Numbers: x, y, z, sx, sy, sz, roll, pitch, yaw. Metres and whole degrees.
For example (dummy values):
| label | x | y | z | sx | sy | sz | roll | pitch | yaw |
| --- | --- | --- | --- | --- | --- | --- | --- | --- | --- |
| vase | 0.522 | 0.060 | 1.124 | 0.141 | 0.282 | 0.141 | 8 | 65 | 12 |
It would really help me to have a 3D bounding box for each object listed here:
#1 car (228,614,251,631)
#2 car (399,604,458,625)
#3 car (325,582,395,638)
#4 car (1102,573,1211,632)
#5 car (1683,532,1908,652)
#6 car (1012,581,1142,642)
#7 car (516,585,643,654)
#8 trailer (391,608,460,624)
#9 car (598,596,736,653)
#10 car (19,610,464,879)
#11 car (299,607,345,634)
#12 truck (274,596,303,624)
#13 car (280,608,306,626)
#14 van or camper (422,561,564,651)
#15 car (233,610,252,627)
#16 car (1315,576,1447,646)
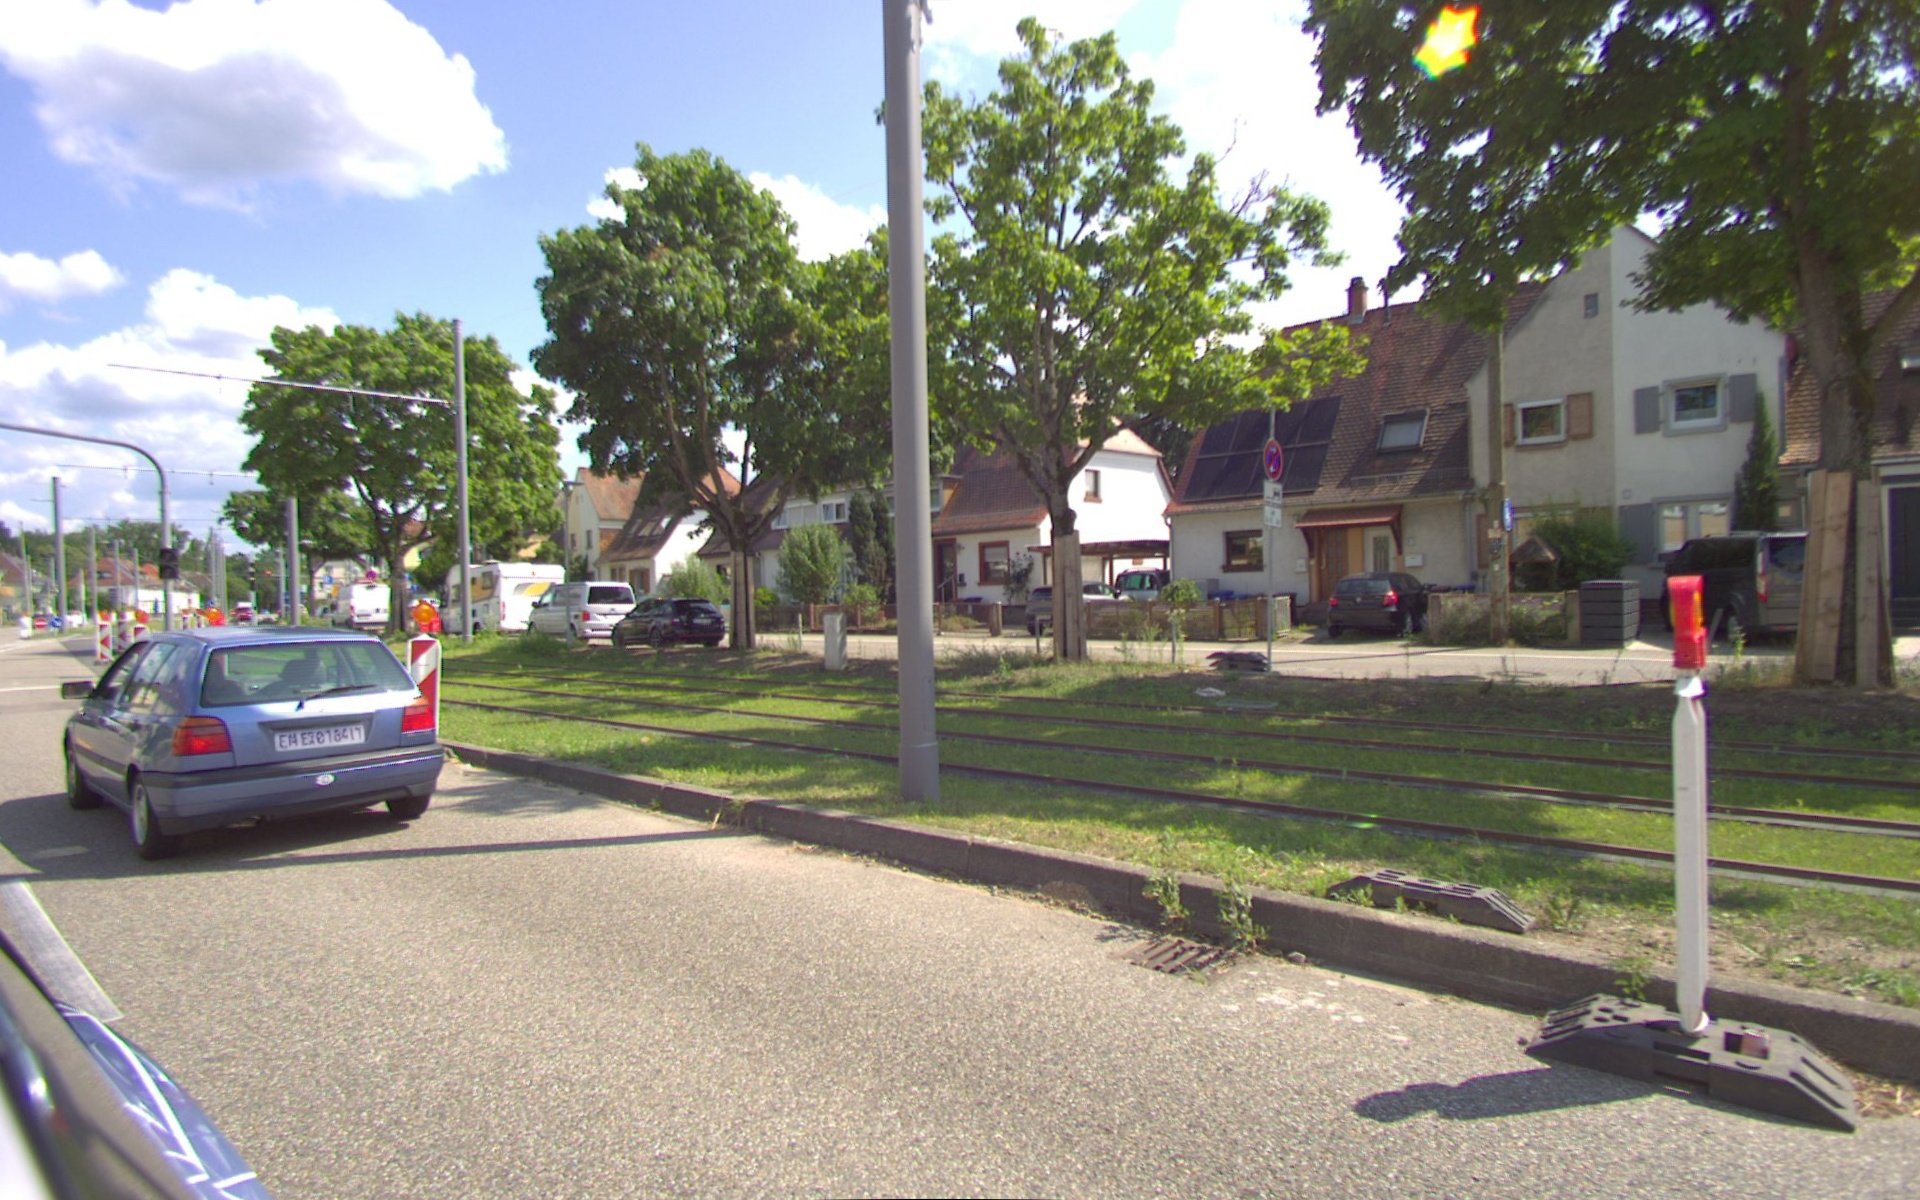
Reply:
| label | x | y | z | sx | sy | sz | roll | pitch | yaw |
| --- | --- | --- | --- | --- | --- | --- | --- | --- | --- |
| car | -70.968 | 2.170 | 99.712 | 1.702 | 1.574 | 4.553 | -2 | 0 | -35 |
| car | -43.732 | 1.169 | 83.313 | 3.904 | 1.556 | 1.762 | -2 | 0 | -44 |
| car | -30.849 | 0.497 | 51.945 | 2.127 | 2.688 | 4.922 | -2 | 0 | -42 |
| car | 6.473 | 0.041 | 33.071 | 1.797 | 1.750 | 3.947 | -1 | 1 | 40 |
| car | 14.854 | -0.191 | 18.283 | 1.929 | 1.911 | 3.870 | -2 | 2 | 20 |
| car | 3.452 | 0.300 | 29.306 | 1.872 | 1.541 | 3.947 | -1 | 1 | 40 |
| car | -12.273 | 0.604 | 32.450 | 1.971 | 2.029 | 4.907 | -2 | 0 | -45 |
| trailer | -45.152 | 1.332 | 85.552 | 4.859 | 1.133 | 1.964 | -2 | 0 | -40 |
| car | -8.195 | 0.645 | 28.028 | 1.829 | 1.397 | 4.815 | -2 | 0 | -41 |
| car | -5.387 | 0.843 | 7.406 | 3.955 | 1.460 | 1.649 | -1 | -2 | 39 |
| car | -38.024 | 1.211 | 60.270 | 1.671 | 1.476 | 4.763 | -2 | 0 | -40 |
| truck | -81.048 | 1.219 | 122.213 | 2.797 | 3.178 | 7.955 | -2 | 0 | -33 |
| car | -61.092 | 1.566 | 92.780 | 1.701 | 1.538 | 4.785 | -2 | 0 | -30 |
| van or camper | -17.321 | 0.226 | 37.267 | 2.348 | 2.992 | 7.300 | -1 | 0 | -45 |
| car | -83.010 | 2.137 | 117.050 | 1.703 | 1.868 | 4.552 | -2 | 0 | -36 |
| car | 9.746 | 0.207 | 23.290 | 1.734 | 1.468 | 3.845 | -1 | 0 | 40 |
